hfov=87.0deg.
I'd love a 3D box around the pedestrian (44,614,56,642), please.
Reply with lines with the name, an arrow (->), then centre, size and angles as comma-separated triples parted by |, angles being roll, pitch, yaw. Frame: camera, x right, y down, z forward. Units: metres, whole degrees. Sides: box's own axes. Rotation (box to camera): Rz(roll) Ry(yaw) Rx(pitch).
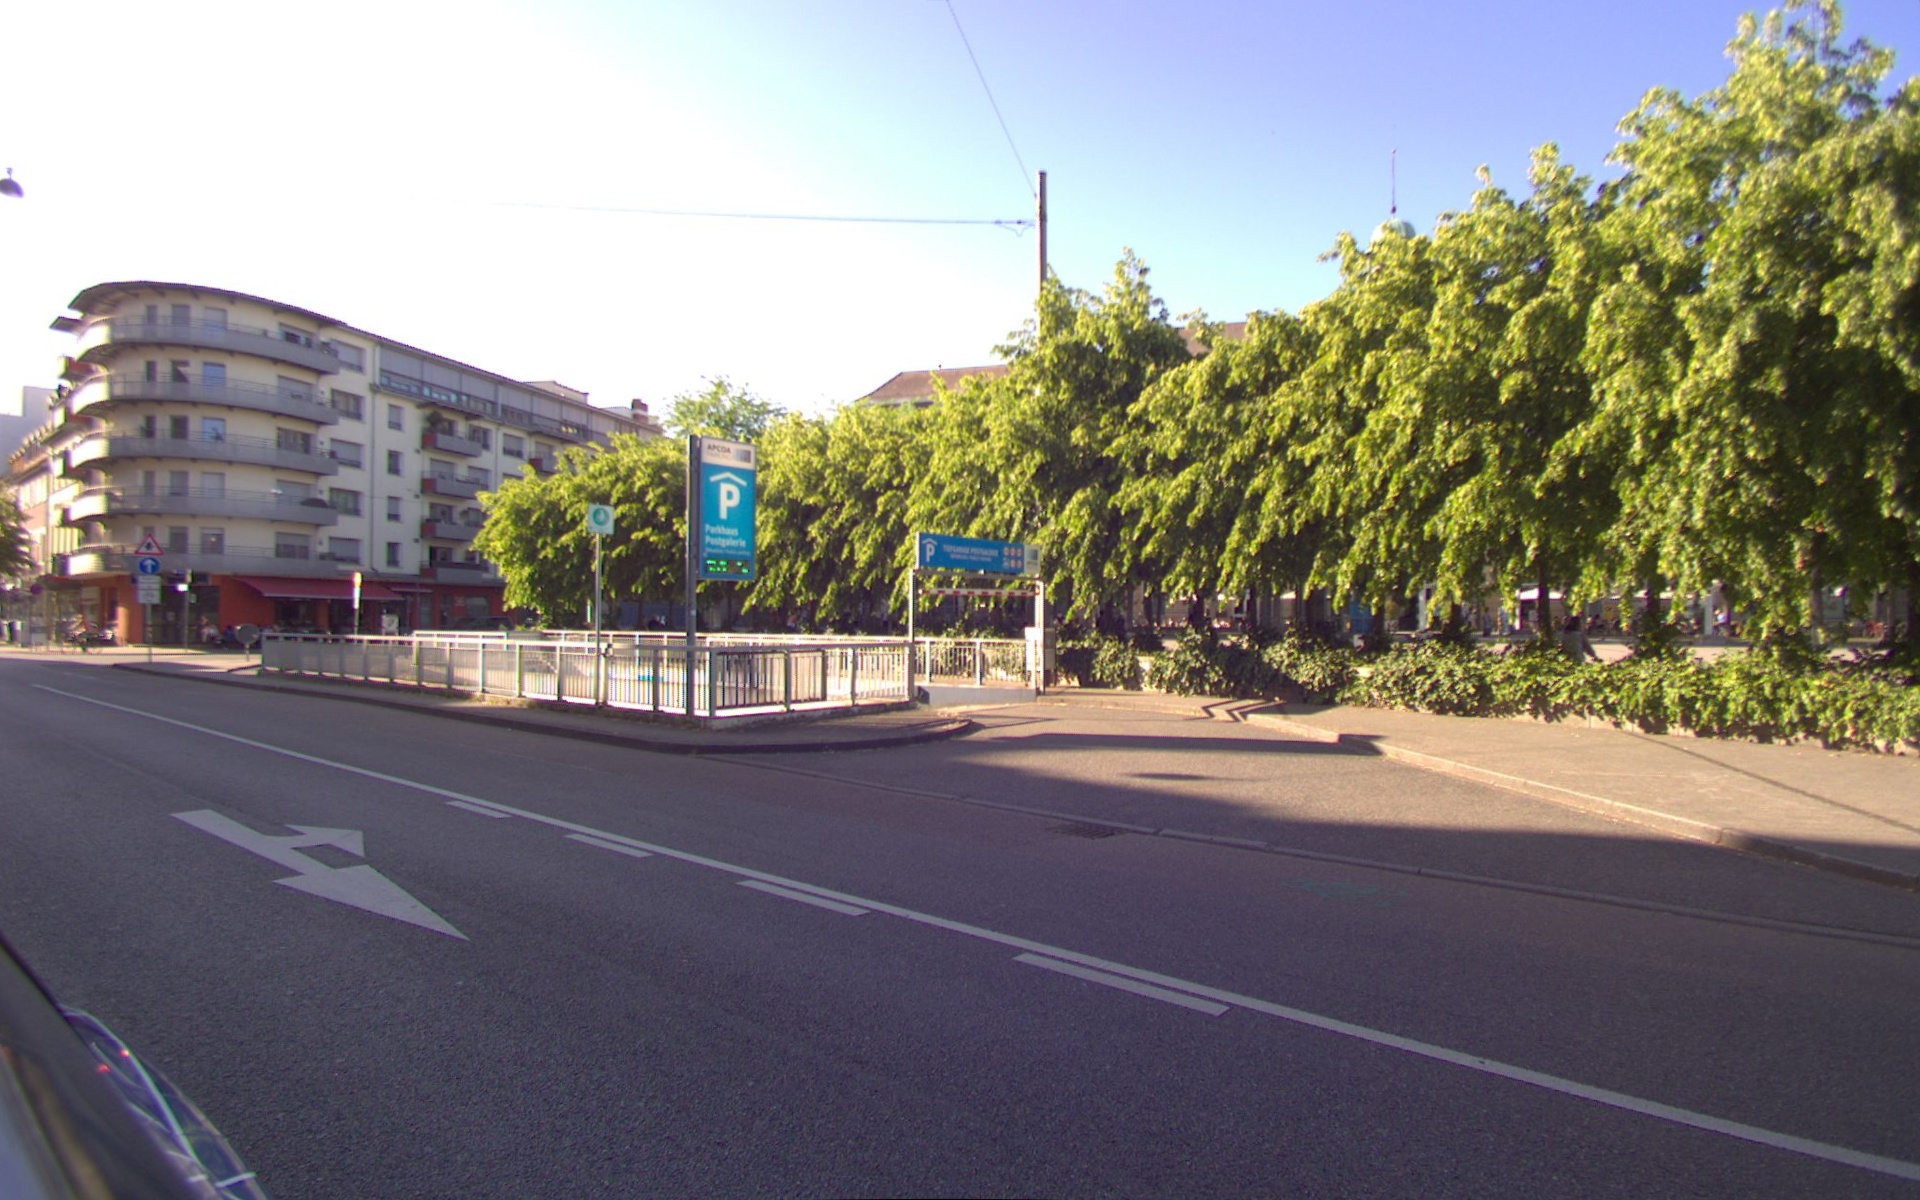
pedestrian -> -50.294, 1.527, 55.927 | 0.515, 1.541, 0.371 | -1, -1, 37

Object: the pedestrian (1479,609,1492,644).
pedestrian -> 27.314, 1.372, 52.625 | 0.580, 1.806, 0.596 | -1, 0, 27

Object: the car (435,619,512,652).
car -> -30.445, 2.196, 63.464 | 1.938, 1.927, 4.403 | -1, -1, 16

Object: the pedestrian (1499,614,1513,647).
pedestrian -> 29.639, 1.658, 54.925 | 0.598, 1.806, 0.577 | -1, -1, 27

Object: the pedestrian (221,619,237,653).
pedestrian -> -36.790, 1.809, 50.930 | 0.642, 1.721, 0.568 | -2, -2, 43

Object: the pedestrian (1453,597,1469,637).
pedestrian -> 22.953, 0.777, 46.369 | 0.599, 1.806, 0.576 | -1, -1, 31

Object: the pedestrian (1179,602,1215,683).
pedestrian -> 5.580, 0.993, 23.787 | 0.674, 1.870, 0.577 | -1, -1, 30

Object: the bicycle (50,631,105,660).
bicycle -> -39.382, 2.034, 45.187 | 1.847, 1.221, 0.714 | -1, 0, 0

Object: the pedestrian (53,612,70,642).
pedestrian -> -49.962, 1.498, 56.259 | 0.792, 1.634, 0.563 | -1, -1, 37

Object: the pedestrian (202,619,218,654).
pedestrian -> -37.467, 1.826, 50.558 | 0.642, 1.721, 0.568 | -2, -2, 43

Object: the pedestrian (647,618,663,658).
pedestrian -> -13.878, 1.736, 46.021 | 0.574, 1.806, 0.602 | 0, 0, -5

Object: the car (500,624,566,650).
car -> -28.889, 2.472, 68.605 | 1.938, 1.633, 4.272 | -1, -1, 16

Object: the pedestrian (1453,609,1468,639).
pedestrian -> 30.466, 1.455, 61.605 | 0.593, 1.806, 0.583 | -1, 0, 0

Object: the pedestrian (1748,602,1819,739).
pedestrian -> 11.574, 0.969, 14.236 | 0.597, 1.870, 0.578 | -1, 0, 22

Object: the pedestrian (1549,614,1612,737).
pedestrian -> 9.769, 1.167, 15.937 | 0.732, 1.870, 0.574 | -1, -1, 44

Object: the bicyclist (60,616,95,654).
bicyclist -> -39.405, 1.557, 45.206 | 0.962, 1.627, 0.714 | -1, 0, -1

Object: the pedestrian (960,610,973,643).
pedestrian -> 0.353, 1.497, 57.319 | 0.578, 1.806, 0.597 | -1, 0, 20

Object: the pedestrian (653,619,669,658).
pedestrian -> -14.247, 1.823, 48.195 | 0.574, 1.806, 0.601 | -1, 0, 0
